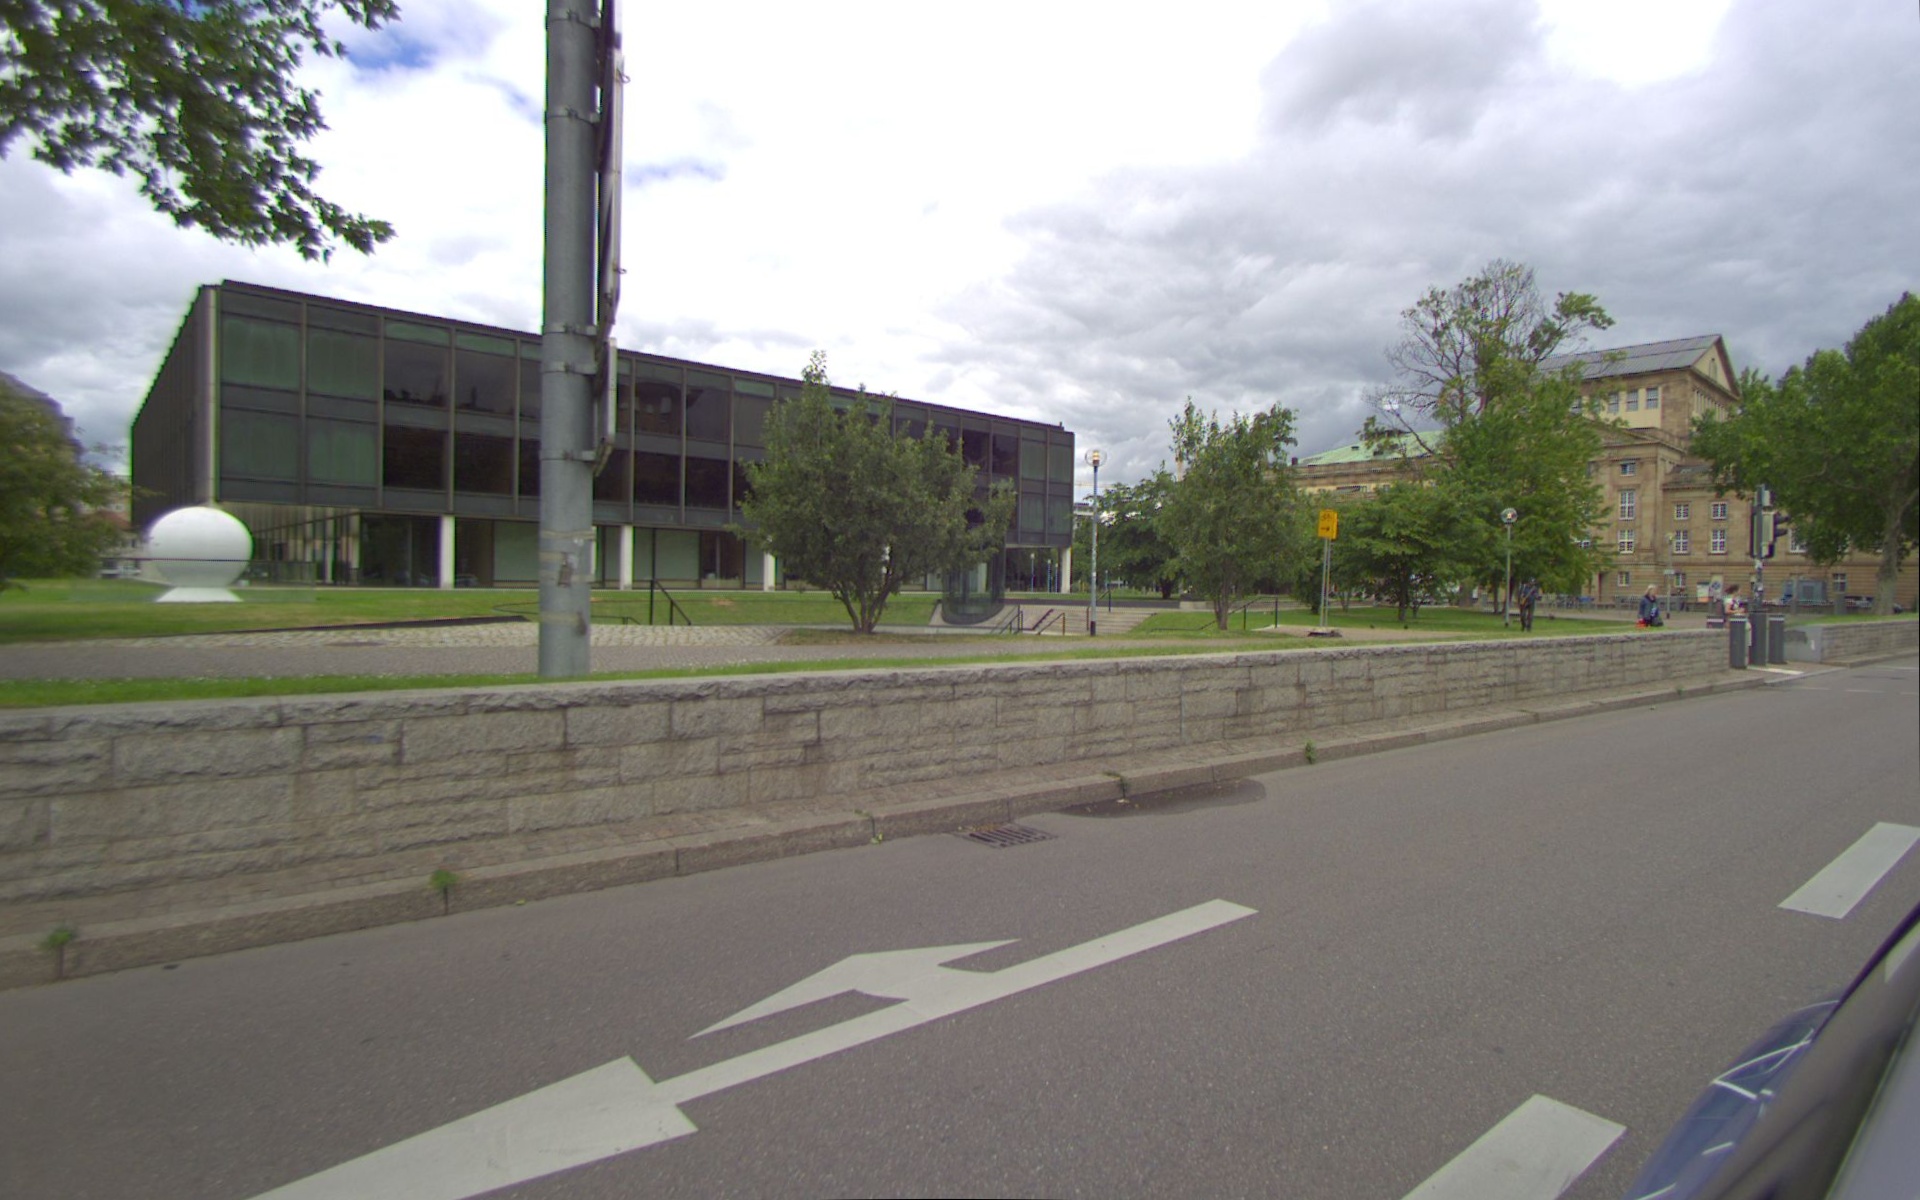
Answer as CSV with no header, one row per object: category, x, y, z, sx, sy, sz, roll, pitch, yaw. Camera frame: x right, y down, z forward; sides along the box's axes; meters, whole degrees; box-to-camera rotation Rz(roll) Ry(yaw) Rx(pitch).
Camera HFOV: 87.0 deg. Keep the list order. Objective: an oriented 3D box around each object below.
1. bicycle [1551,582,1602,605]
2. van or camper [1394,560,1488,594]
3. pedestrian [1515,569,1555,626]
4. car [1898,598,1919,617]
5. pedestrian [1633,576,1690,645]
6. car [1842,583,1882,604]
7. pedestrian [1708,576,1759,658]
bicycle,32.626,-0.368,53.573,0.673,1.155,2.196,0,2,-40
van or camper,35.006,-1.620,73.778,2.280,2.348,5.706,-2,2,-41
pedestrian,17.013,-0.089,29.961,0.614,1.646,0.805,0,1,-33
car,82.568,0.630,86.104,3.983,1.616,1.709,-2,0,42
pedestrian,16.742,0.239,24.166,0.889,1.581,0.687,1,3,-24
car,71.266,-0.539,79.916,4.142,1.537,1.767,1,0,-40
pedestrian,16.300,0.356,21.323,0.672,1.677,0.698,-1,-1,-42
